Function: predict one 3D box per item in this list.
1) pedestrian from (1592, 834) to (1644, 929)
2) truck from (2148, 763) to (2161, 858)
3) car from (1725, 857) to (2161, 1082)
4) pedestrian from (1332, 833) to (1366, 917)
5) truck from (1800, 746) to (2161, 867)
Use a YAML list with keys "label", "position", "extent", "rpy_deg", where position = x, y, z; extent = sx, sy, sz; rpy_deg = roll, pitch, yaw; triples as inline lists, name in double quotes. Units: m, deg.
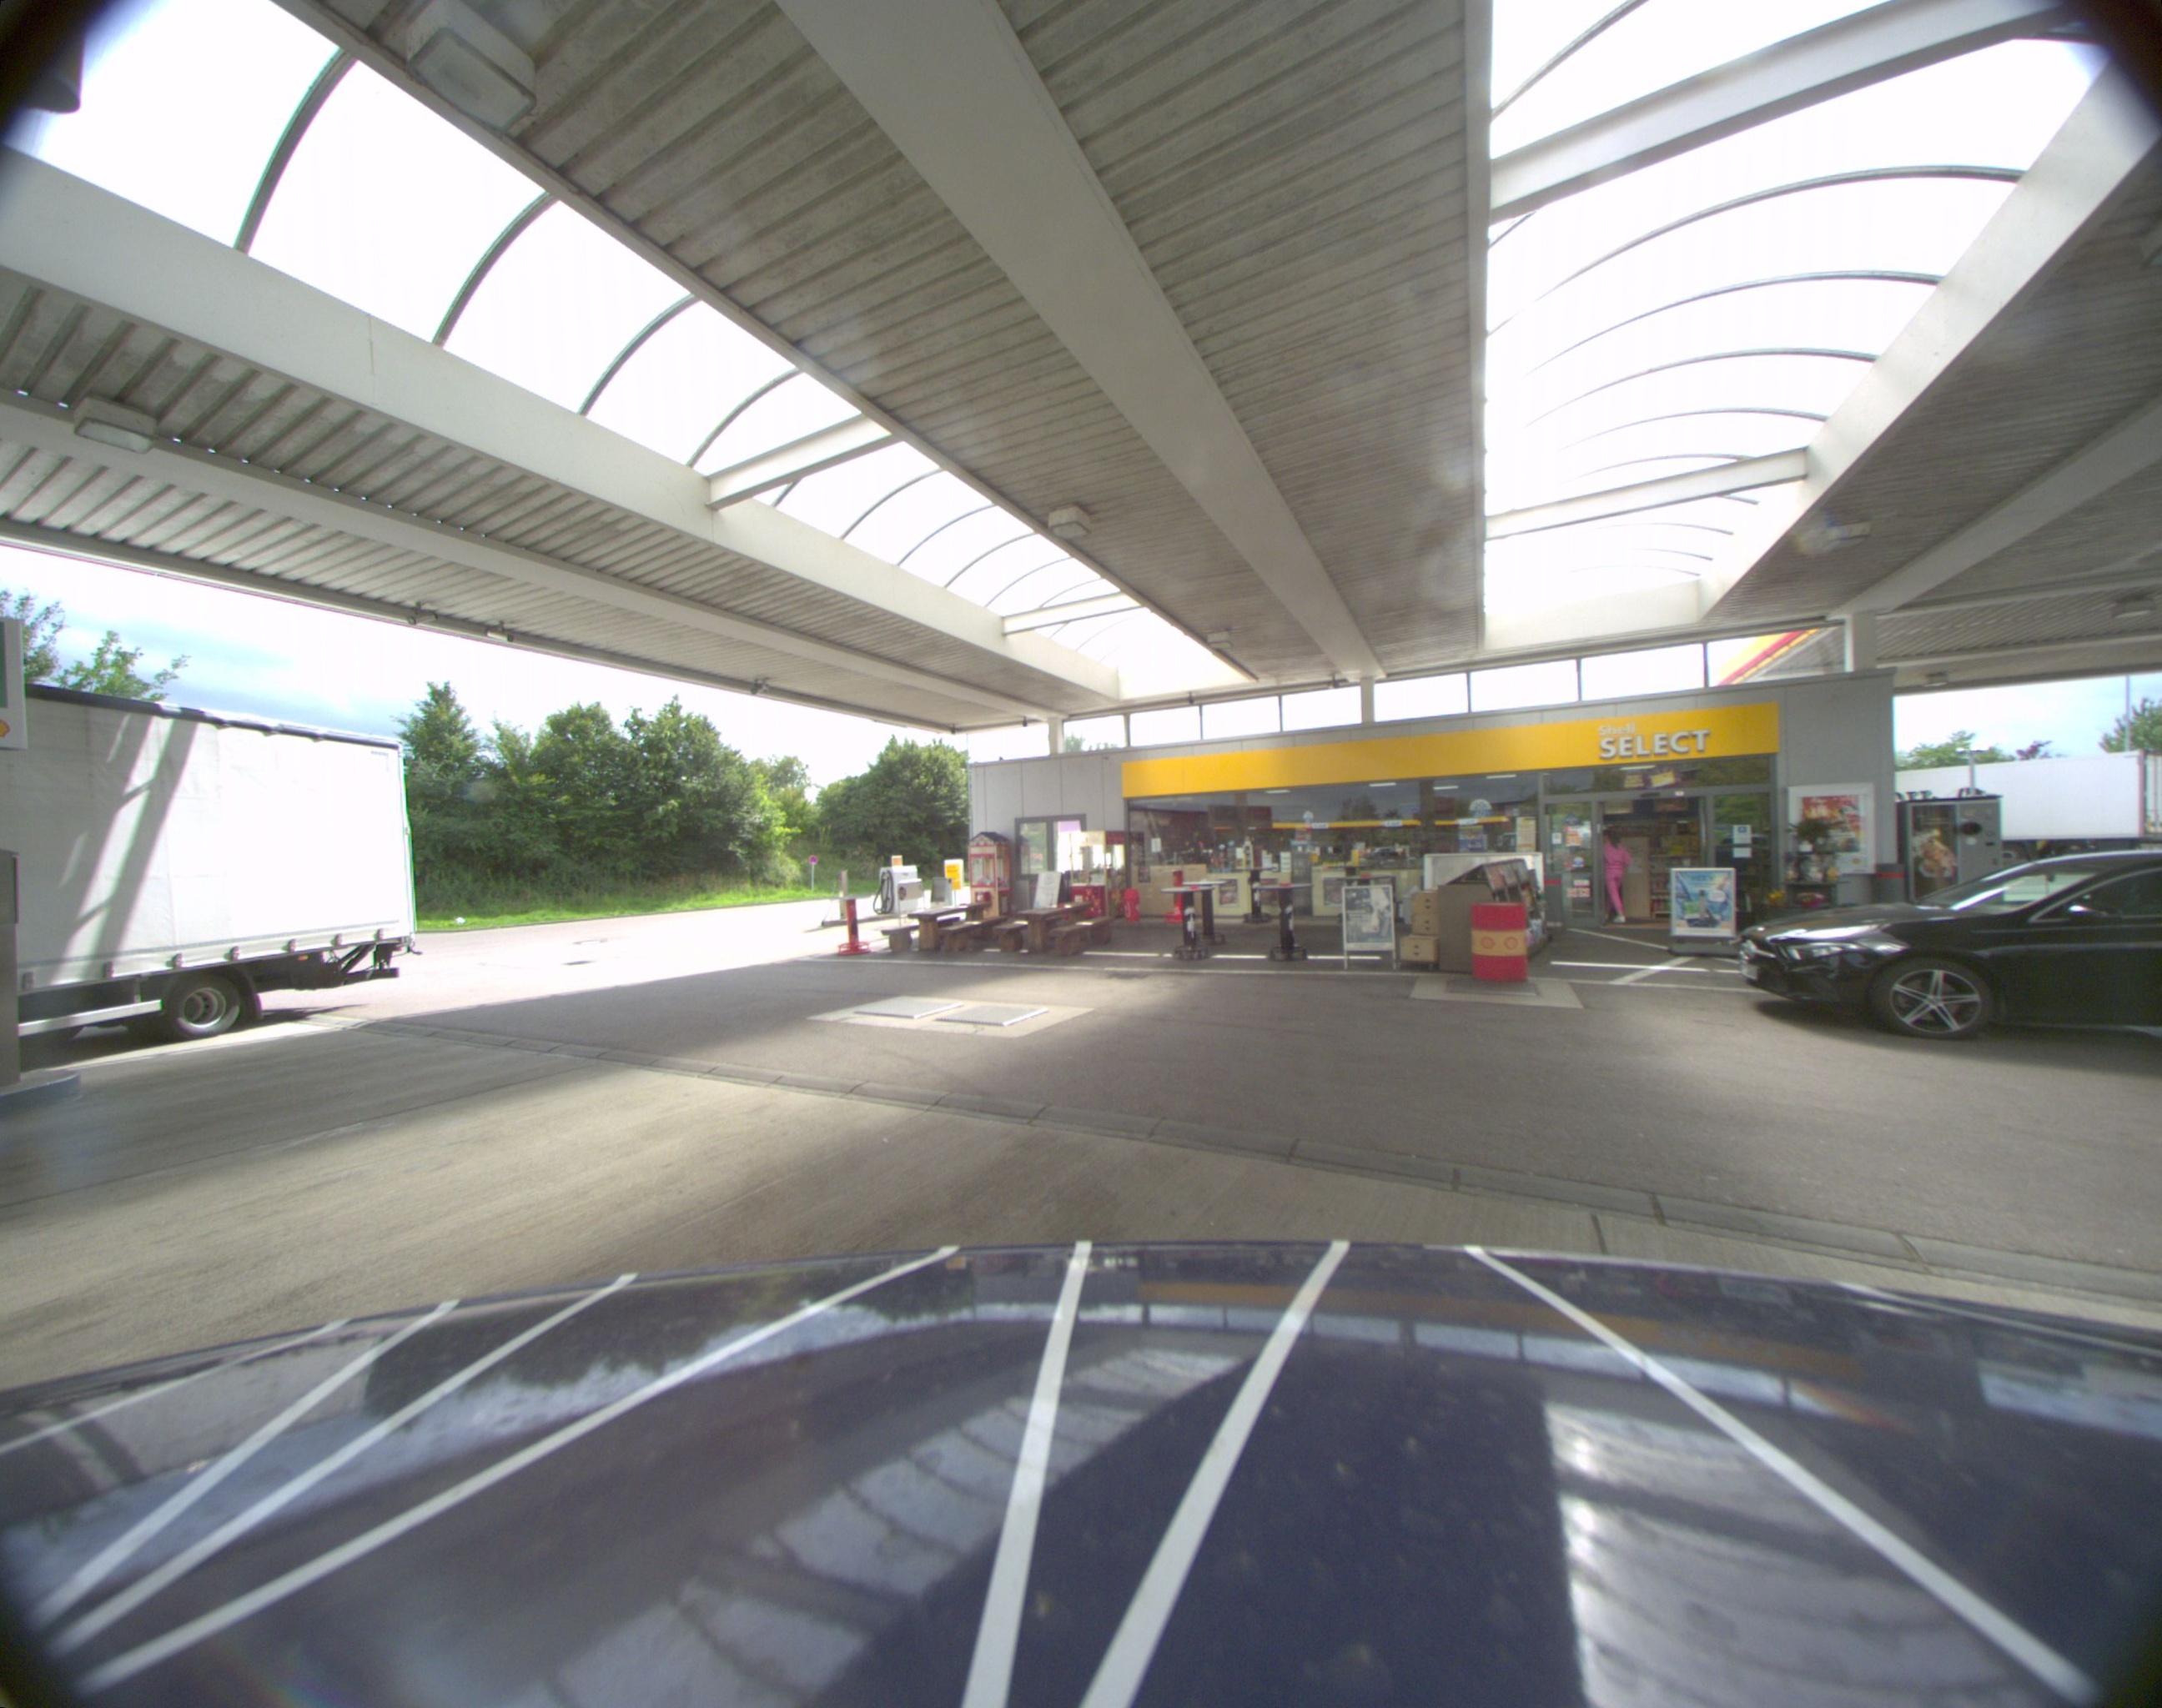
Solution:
- label: "pedestrian"
  position: [9.801, 0.490, 13.890]
  extent: [0.626, 1.703, 0.623]
  rpy_deg: [-2, 1, 24]
- label: "truck"
  position: [51.473, -2.040, 33.142]
  extent: [3.383, 4.479, 6.239]
  rpy_deg: [-2, 1, 29]
- label: "car"
  position: [8.151, 0.813, 5.942]
  extent: [4.461, 1.491, 1.782]
  rpy_deg: [-2, 1, 28]
- label: "pedestrian"
  position: [6.169, 0.479, 17.488]
  extent: [0.580, 1.895, 0.509]
  rpy_deg: [-2, 1, 5]
- label: "truck"
  position: [35.124, -1.612, 30.061]
  extent: [2.796, 3.982, 9.578]
  rpy_deg: [-3, 1, -16]
